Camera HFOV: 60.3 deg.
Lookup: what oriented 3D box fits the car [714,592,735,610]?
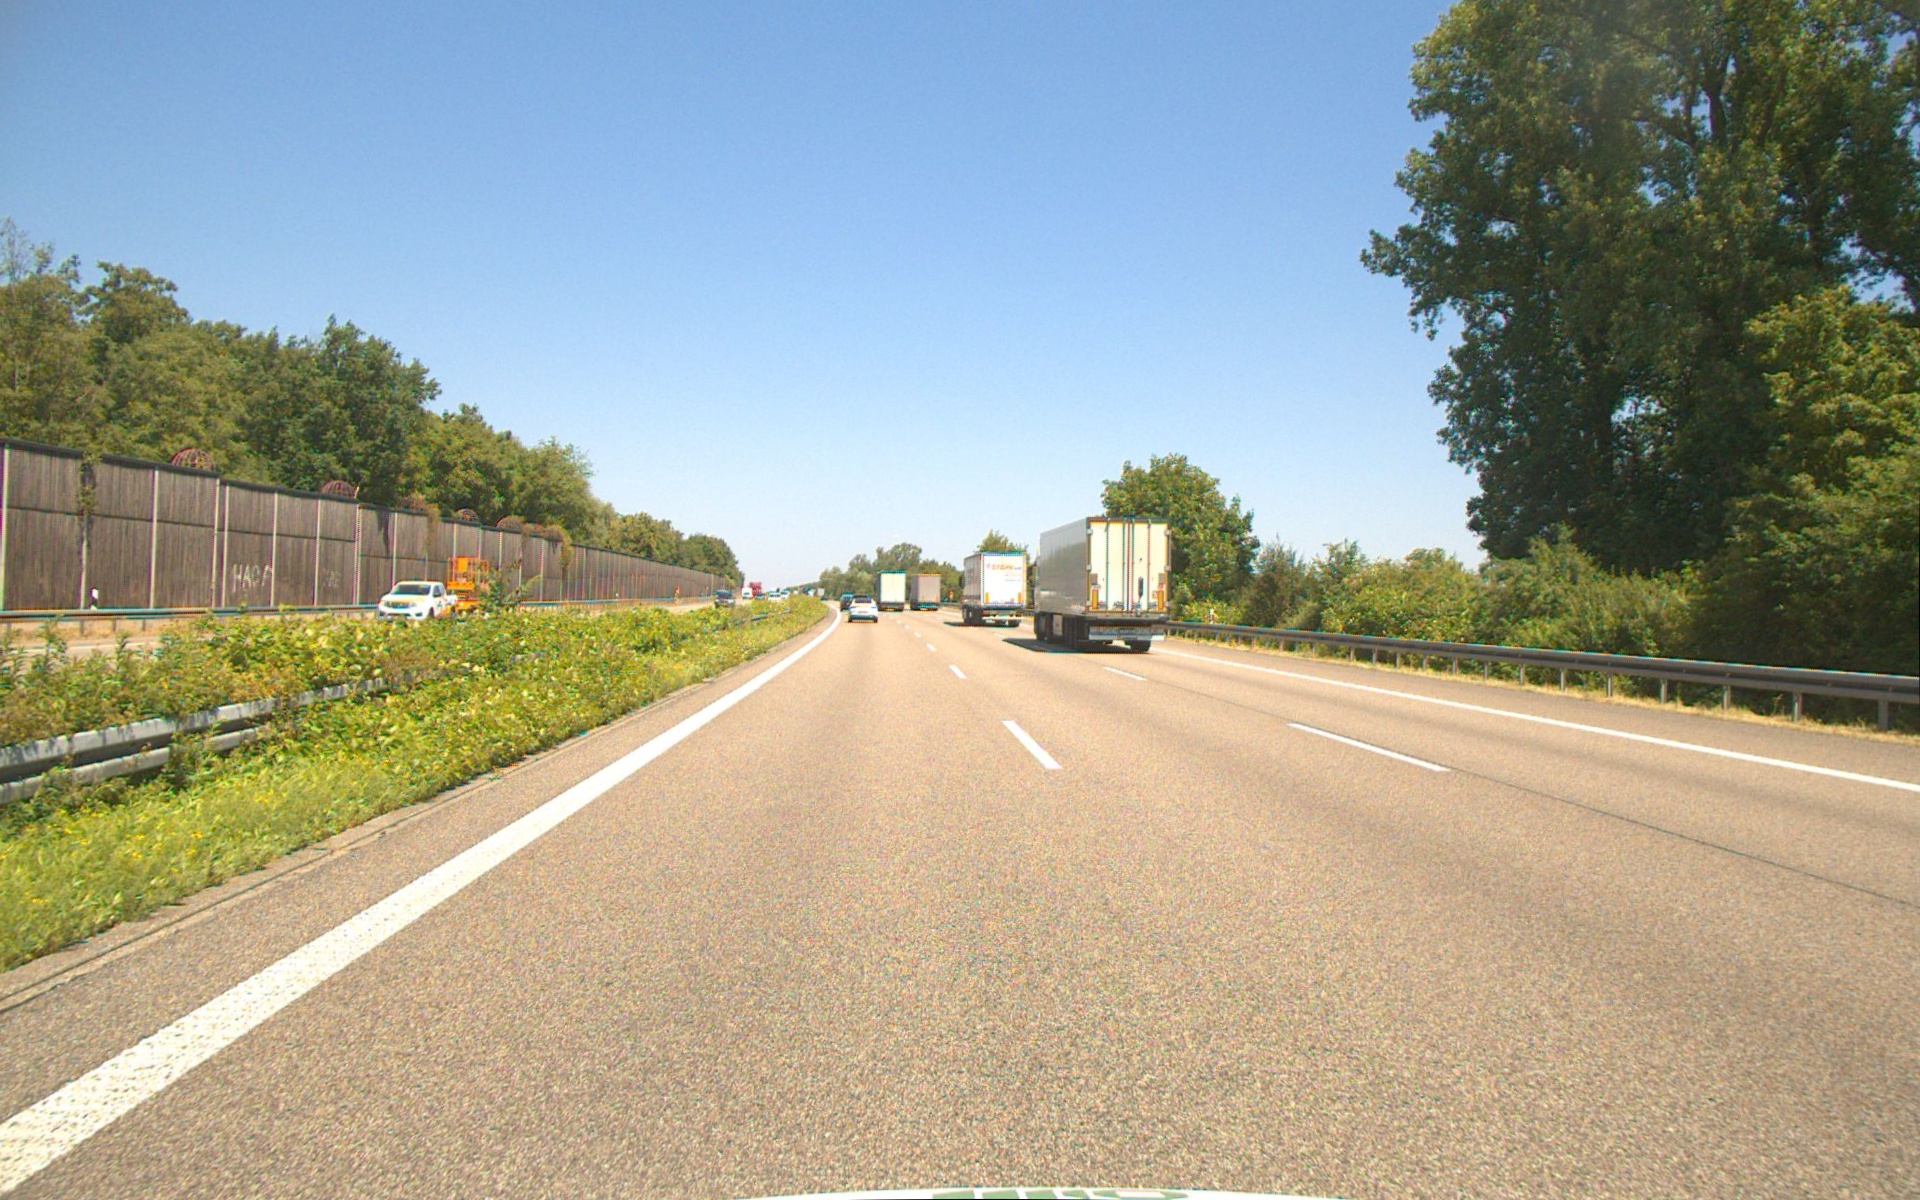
[{"bbox_3d":[-22.837,0.049,160.109,1.956,1.676,4.684,1,0,-8],"label":"car"}]

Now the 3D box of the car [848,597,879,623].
[{"bbox_3d":[-5.930,0.615,101.516,1.818,1.512,3.997,1,0,-4],"label":"car"}]

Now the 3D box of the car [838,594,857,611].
[{"bbox_3d":[-11.306,0.272,166.178,1.818,1.645,3.997,1,0,-4],"label":"car"}]

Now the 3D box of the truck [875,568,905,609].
[{"bbox_3d":[-7.471,-1.166,175.995,2.654,4.157,13.462,2,0,-4],"label":"truck"}]

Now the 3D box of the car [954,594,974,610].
[{"bbox_3d":[0.402,0.187,170.403,1.819,1.645,3.996,1,0,-5],"label":"car"}]

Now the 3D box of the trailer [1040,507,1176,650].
[{"bbox_3d":[4.685,-0.649,55.164,2.900,4.178,12.527,1,0,-2],"label":"trailer"}]

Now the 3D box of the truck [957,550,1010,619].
[{"bbox_3d":[1.430,-0.940,103.916,2.654,4.160,6.957,1,0,-5],"label":"truck"}]

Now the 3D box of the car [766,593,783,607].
[{"bbox_3d":[-22.589,0.026,201.420,1.954,1.676,5.040,1,0,-5],"label":"car"}]

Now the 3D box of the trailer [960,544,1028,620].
[{"bbox_3d":[1.881,-0.987,98.373,2.654,4.160,14.138,1,0,-4],"label":"trailer"}]

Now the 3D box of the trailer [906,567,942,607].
[{"bbox_3d":[-4.226,-1.441,190.989,2.652,4.289,13.188,2,0,-8],"label":"trailer"}]

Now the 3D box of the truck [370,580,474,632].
[{"bbox_3d":[-20.036,0.211,61.922,2.059,1.848,6.208,1,0,-2],"label":"truck"}]

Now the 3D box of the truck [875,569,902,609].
[{"bbox_3d":[-7.861,-1.153,181.344,2.674,4.157,7.271,2,0,-4],"label":"truck"}]

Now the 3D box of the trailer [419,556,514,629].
[{"bbox_3d":[-20.290,-0.299,68.288,2.197,2.824,6.506,1,0,-3],"label":"trailer"}]

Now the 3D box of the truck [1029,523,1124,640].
[{"bbox_3d":[4.349,-0.659,62.828,2.900,4.178,6.204,1,0,-2],"label":"truck"}]
